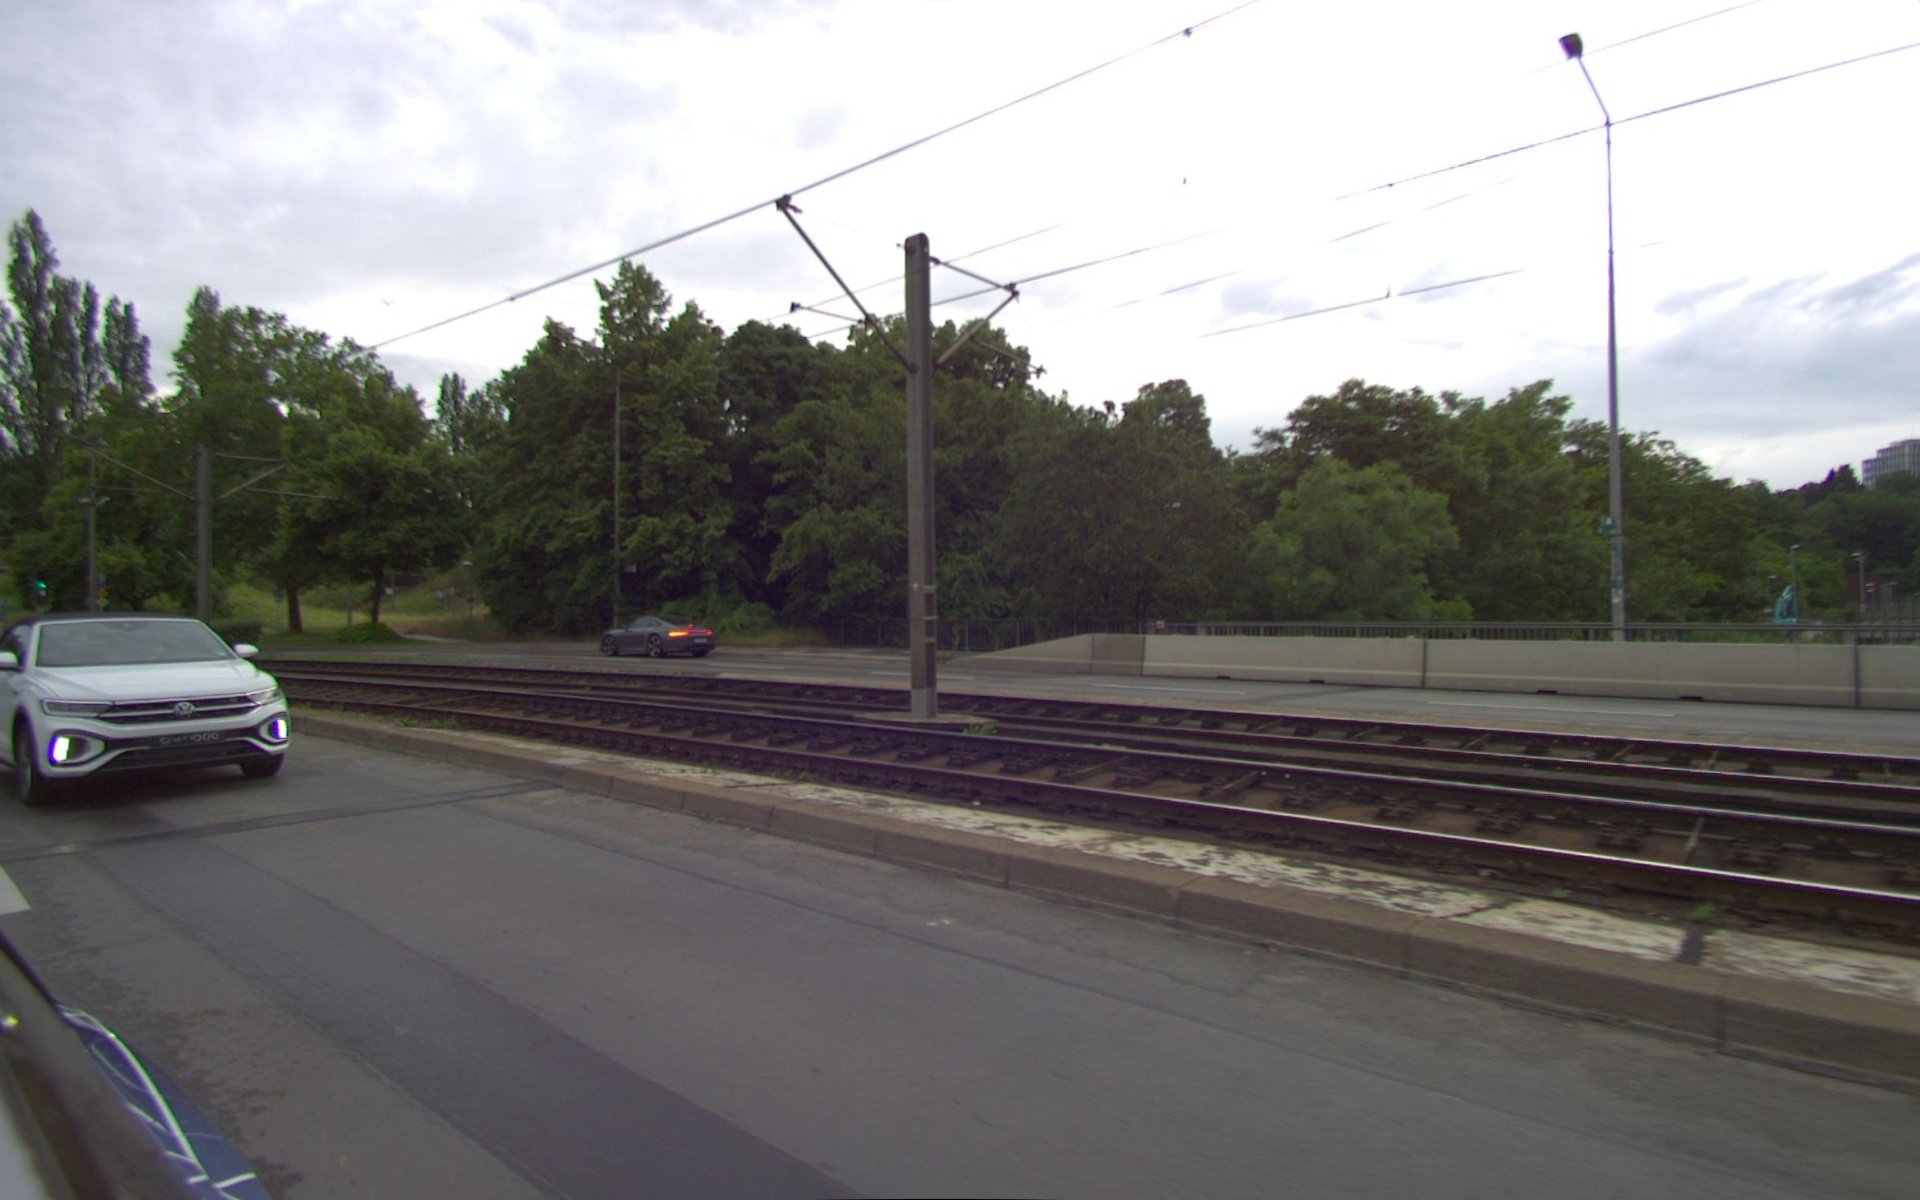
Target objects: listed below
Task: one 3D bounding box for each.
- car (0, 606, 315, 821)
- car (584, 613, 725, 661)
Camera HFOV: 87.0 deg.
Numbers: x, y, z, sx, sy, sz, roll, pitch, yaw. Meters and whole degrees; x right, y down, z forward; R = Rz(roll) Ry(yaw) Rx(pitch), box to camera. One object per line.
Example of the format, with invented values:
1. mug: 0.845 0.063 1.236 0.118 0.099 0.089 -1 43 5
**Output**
1. car: -7.935 0.854 9.424 4.533 1.535 1.854 -1 -1 38
2. car: -9.583 1.151 31.598 4.611 1.324 1.820 -2 1 37
